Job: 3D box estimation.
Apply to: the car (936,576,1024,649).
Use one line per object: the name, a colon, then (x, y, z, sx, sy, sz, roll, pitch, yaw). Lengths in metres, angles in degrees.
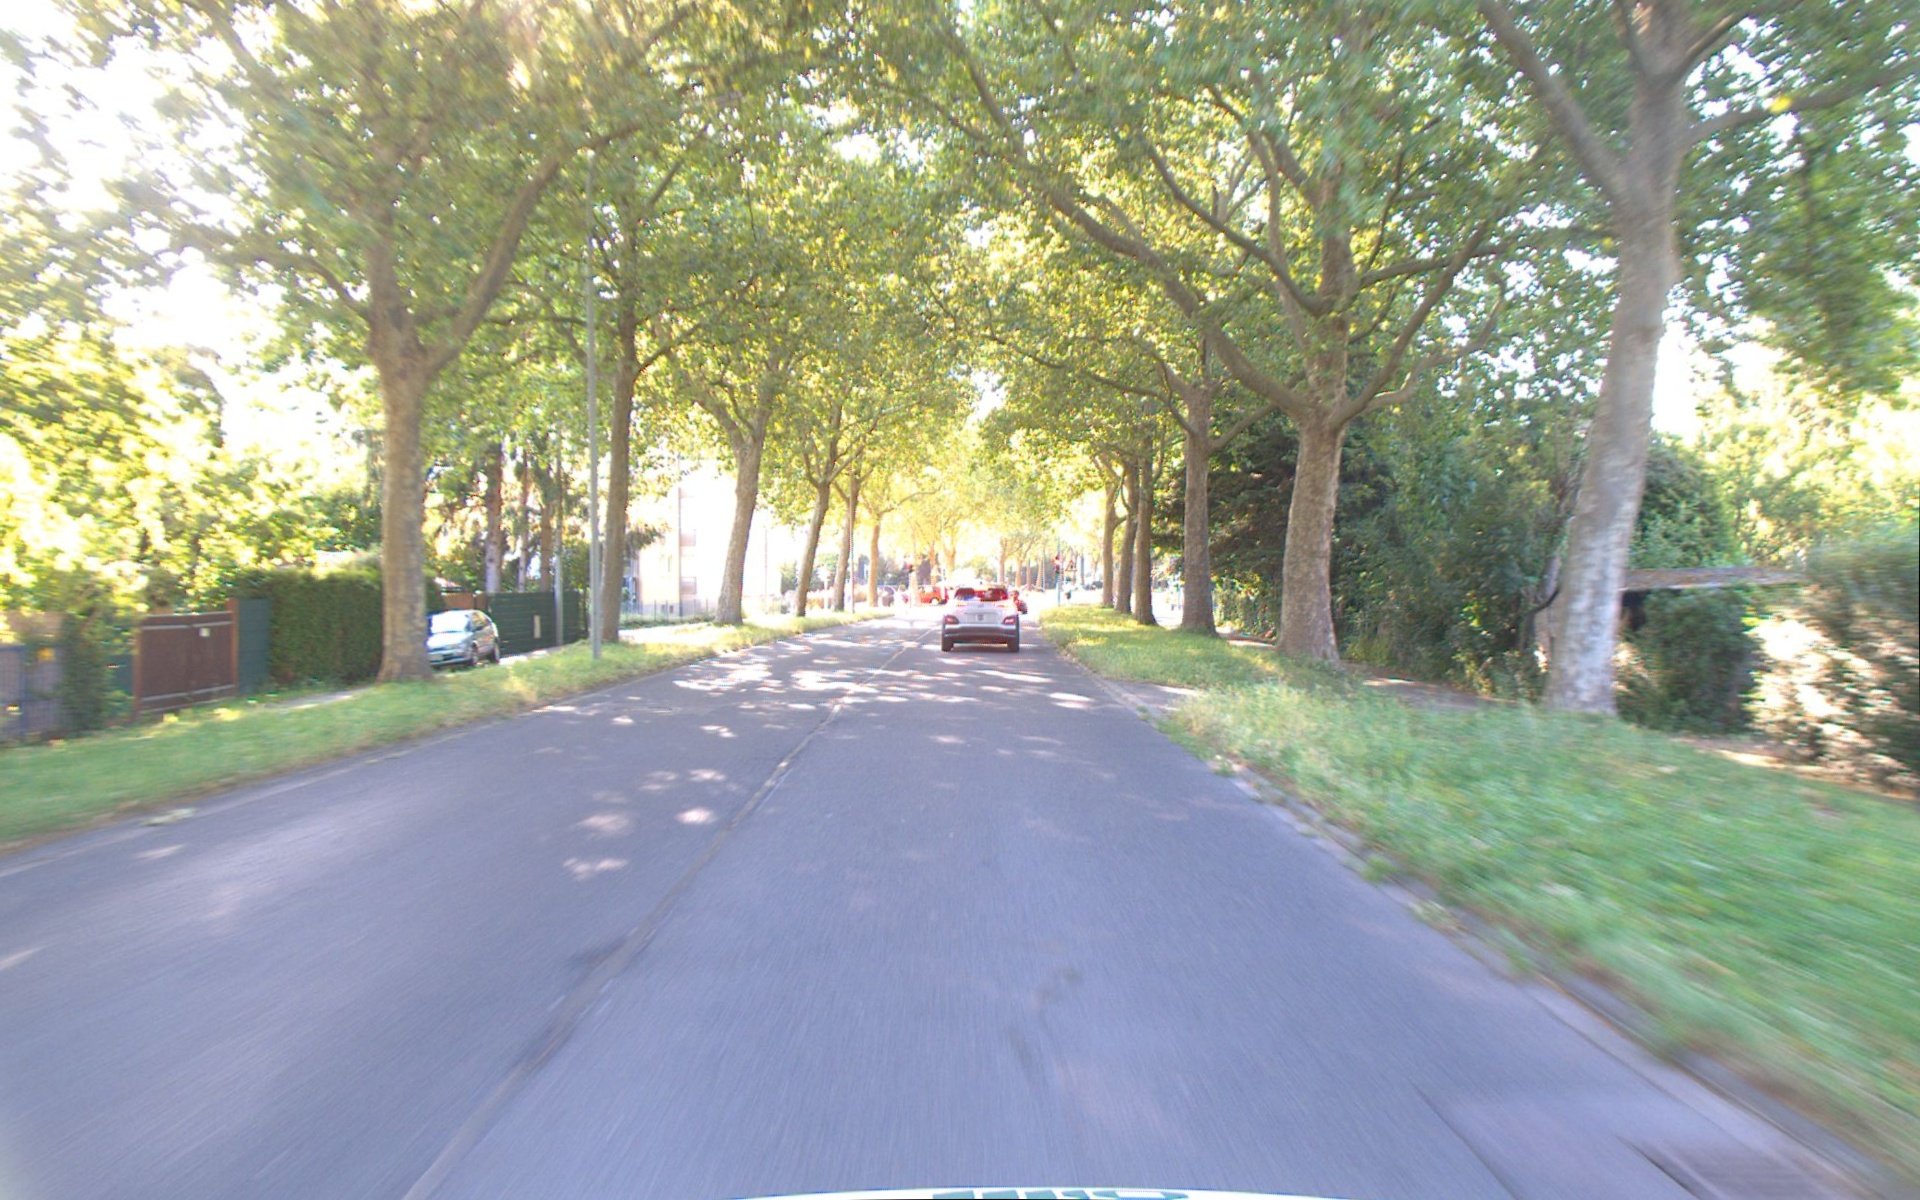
car: (0.509, 0.270, 38.923, 1.952, 1.602, 4.001, 1, 0, 2)

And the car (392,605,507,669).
car: (-12.490, 0.871, 40.713, 1.717, 1.327, 3.998, -1, 1, -3)

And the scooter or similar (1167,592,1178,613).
scooter or similar: (13.136, 0.142, 102.136, 0.538, 1.280, 2.314, 1, 0, 4)

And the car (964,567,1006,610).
car: (1.258, -0.575, 81.846, 1.952, 2.049, 4.001, 1, 0, 2)

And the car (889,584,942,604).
car: (-3.414, -0.442, 127.909, 3.903, 1.504, 2.001, 1, 0, 4)

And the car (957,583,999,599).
car: (1.698, -0.845, 157.268, 3.903, 1.504, 2.001, 1, 0, 4)

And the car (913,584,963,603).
car: (-1.808, -0.562, 137.889, 3.902, 1.504, 2.001, 1, 0, 7)

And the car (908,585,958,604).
car: (-2.195, -0.413, 135.184, 3.903, 1.504, 2.001, 1, 0, 4)

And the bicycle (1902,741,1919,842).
bicycle: (8.448, 1.643, 13.401, 0.541, 0.831, 1.888, 1, 0, 0)

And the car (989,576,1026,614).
car: (2.600, -0.288, 91.676, 1.952, 2.049, 4.000, 1, 0, 0)

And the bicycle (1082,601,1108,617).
bicycle: (9.936, 0.674, 121.426, 0.599, 1.184, 2.119, 1, 0, -40)
